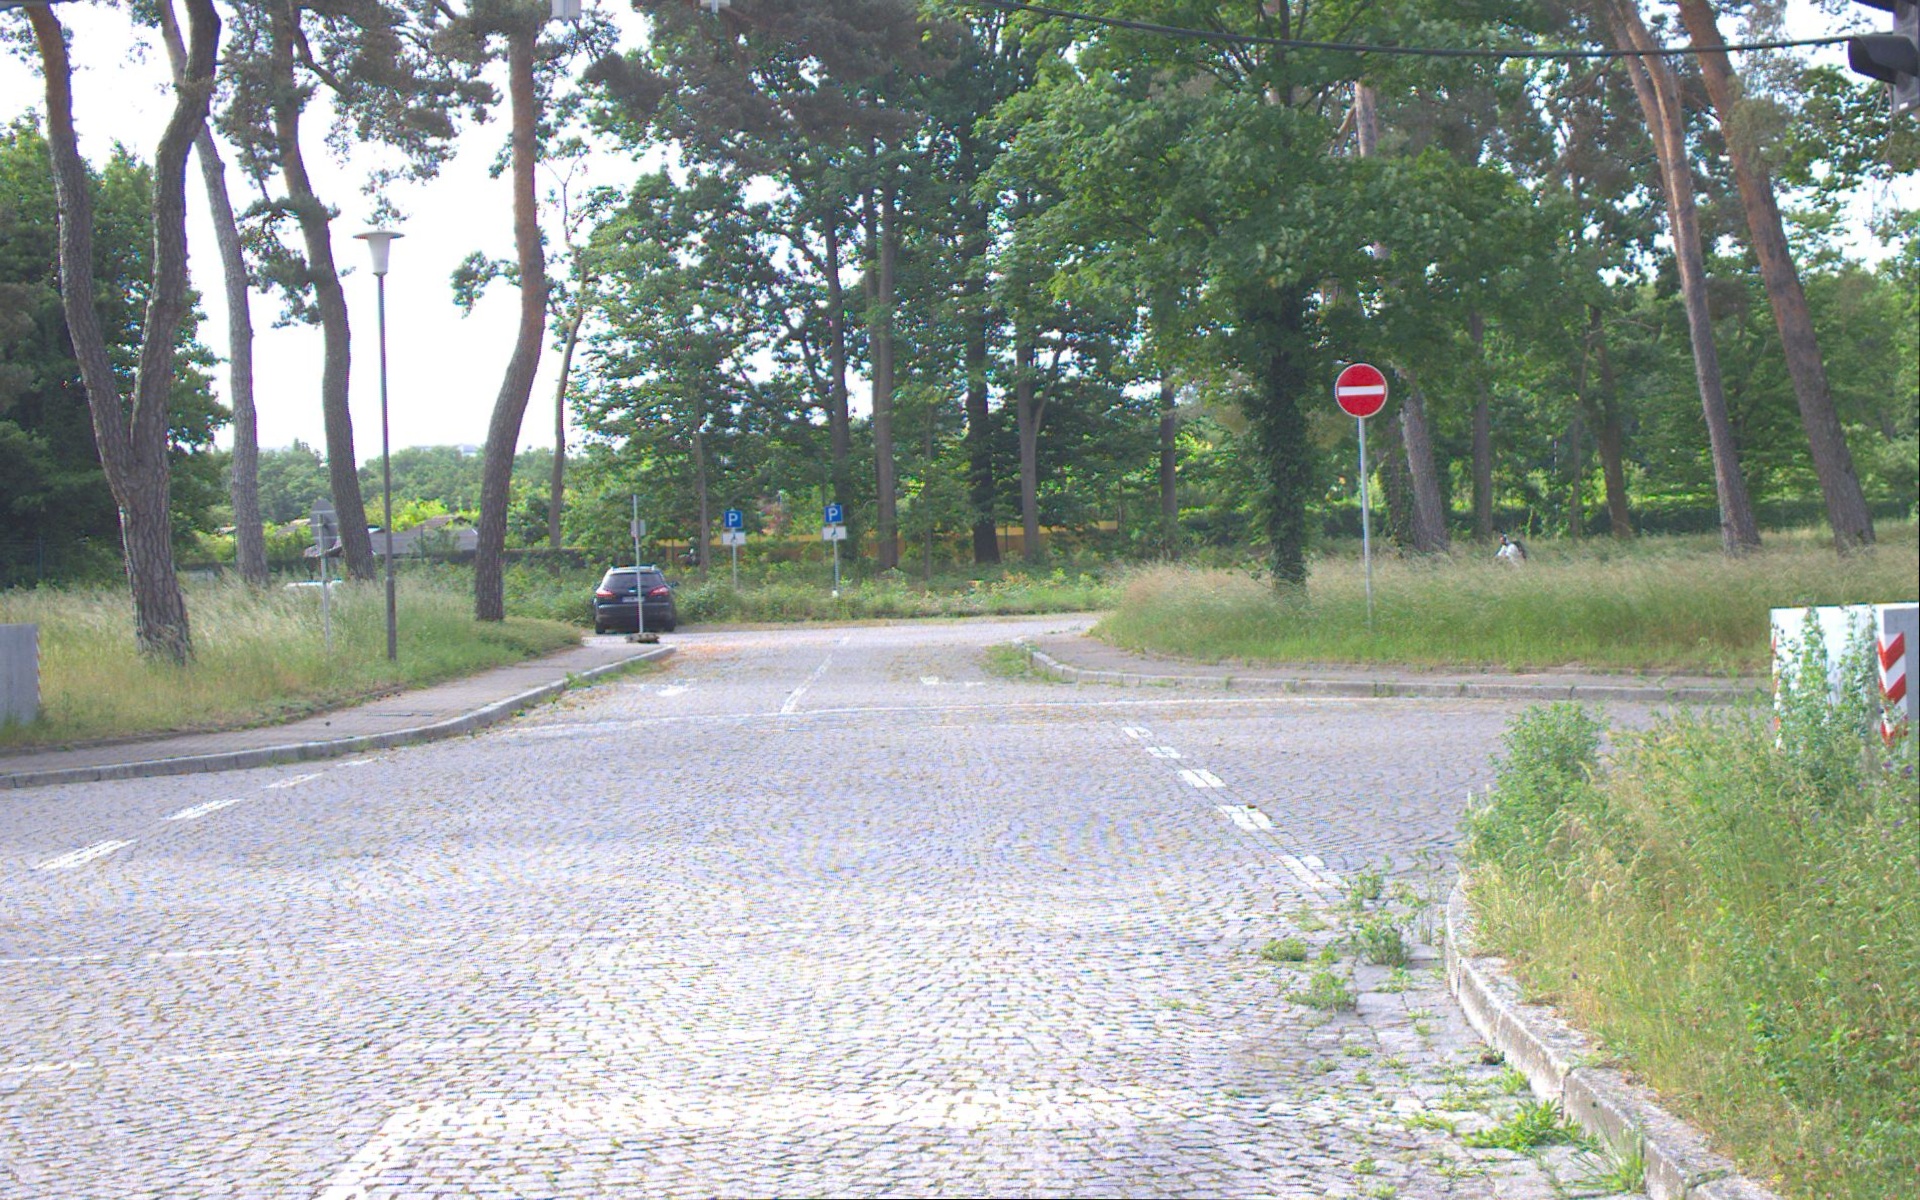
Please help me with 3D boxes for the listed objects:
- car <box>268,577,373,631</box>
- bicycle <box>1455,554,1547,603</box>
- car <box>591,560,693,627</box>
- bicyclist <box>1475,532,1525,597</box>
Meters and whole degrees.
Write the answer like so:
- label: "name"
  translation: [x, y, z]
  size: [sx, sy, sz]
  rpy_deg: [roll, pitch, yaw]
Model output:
- label: "car"
  translation: [-15.081, 0.078, 81.195]
  size: [1.689, 1.152, 4.000]
  rpy_deg: [-2, 1, 0]
- label: "bicycle"
  translation: [12.940, -0.515, 82.258]
  size: [1.986, 1.091, 0.810]
  rpy_deg: [-2, 1, -4]
- label: "car"
  translation: [-7.384, -0.176, 80.259]
  size: [1.993, 1.503, 4.000]
  rpy_deg: [0, 1, 0]
- label: "bicyclist"
  translation: [12.920, -0.853, 82.256]
  size: [0.974, 1.505, 0.807]
  rpy_deg: [-2, 1, -4]
